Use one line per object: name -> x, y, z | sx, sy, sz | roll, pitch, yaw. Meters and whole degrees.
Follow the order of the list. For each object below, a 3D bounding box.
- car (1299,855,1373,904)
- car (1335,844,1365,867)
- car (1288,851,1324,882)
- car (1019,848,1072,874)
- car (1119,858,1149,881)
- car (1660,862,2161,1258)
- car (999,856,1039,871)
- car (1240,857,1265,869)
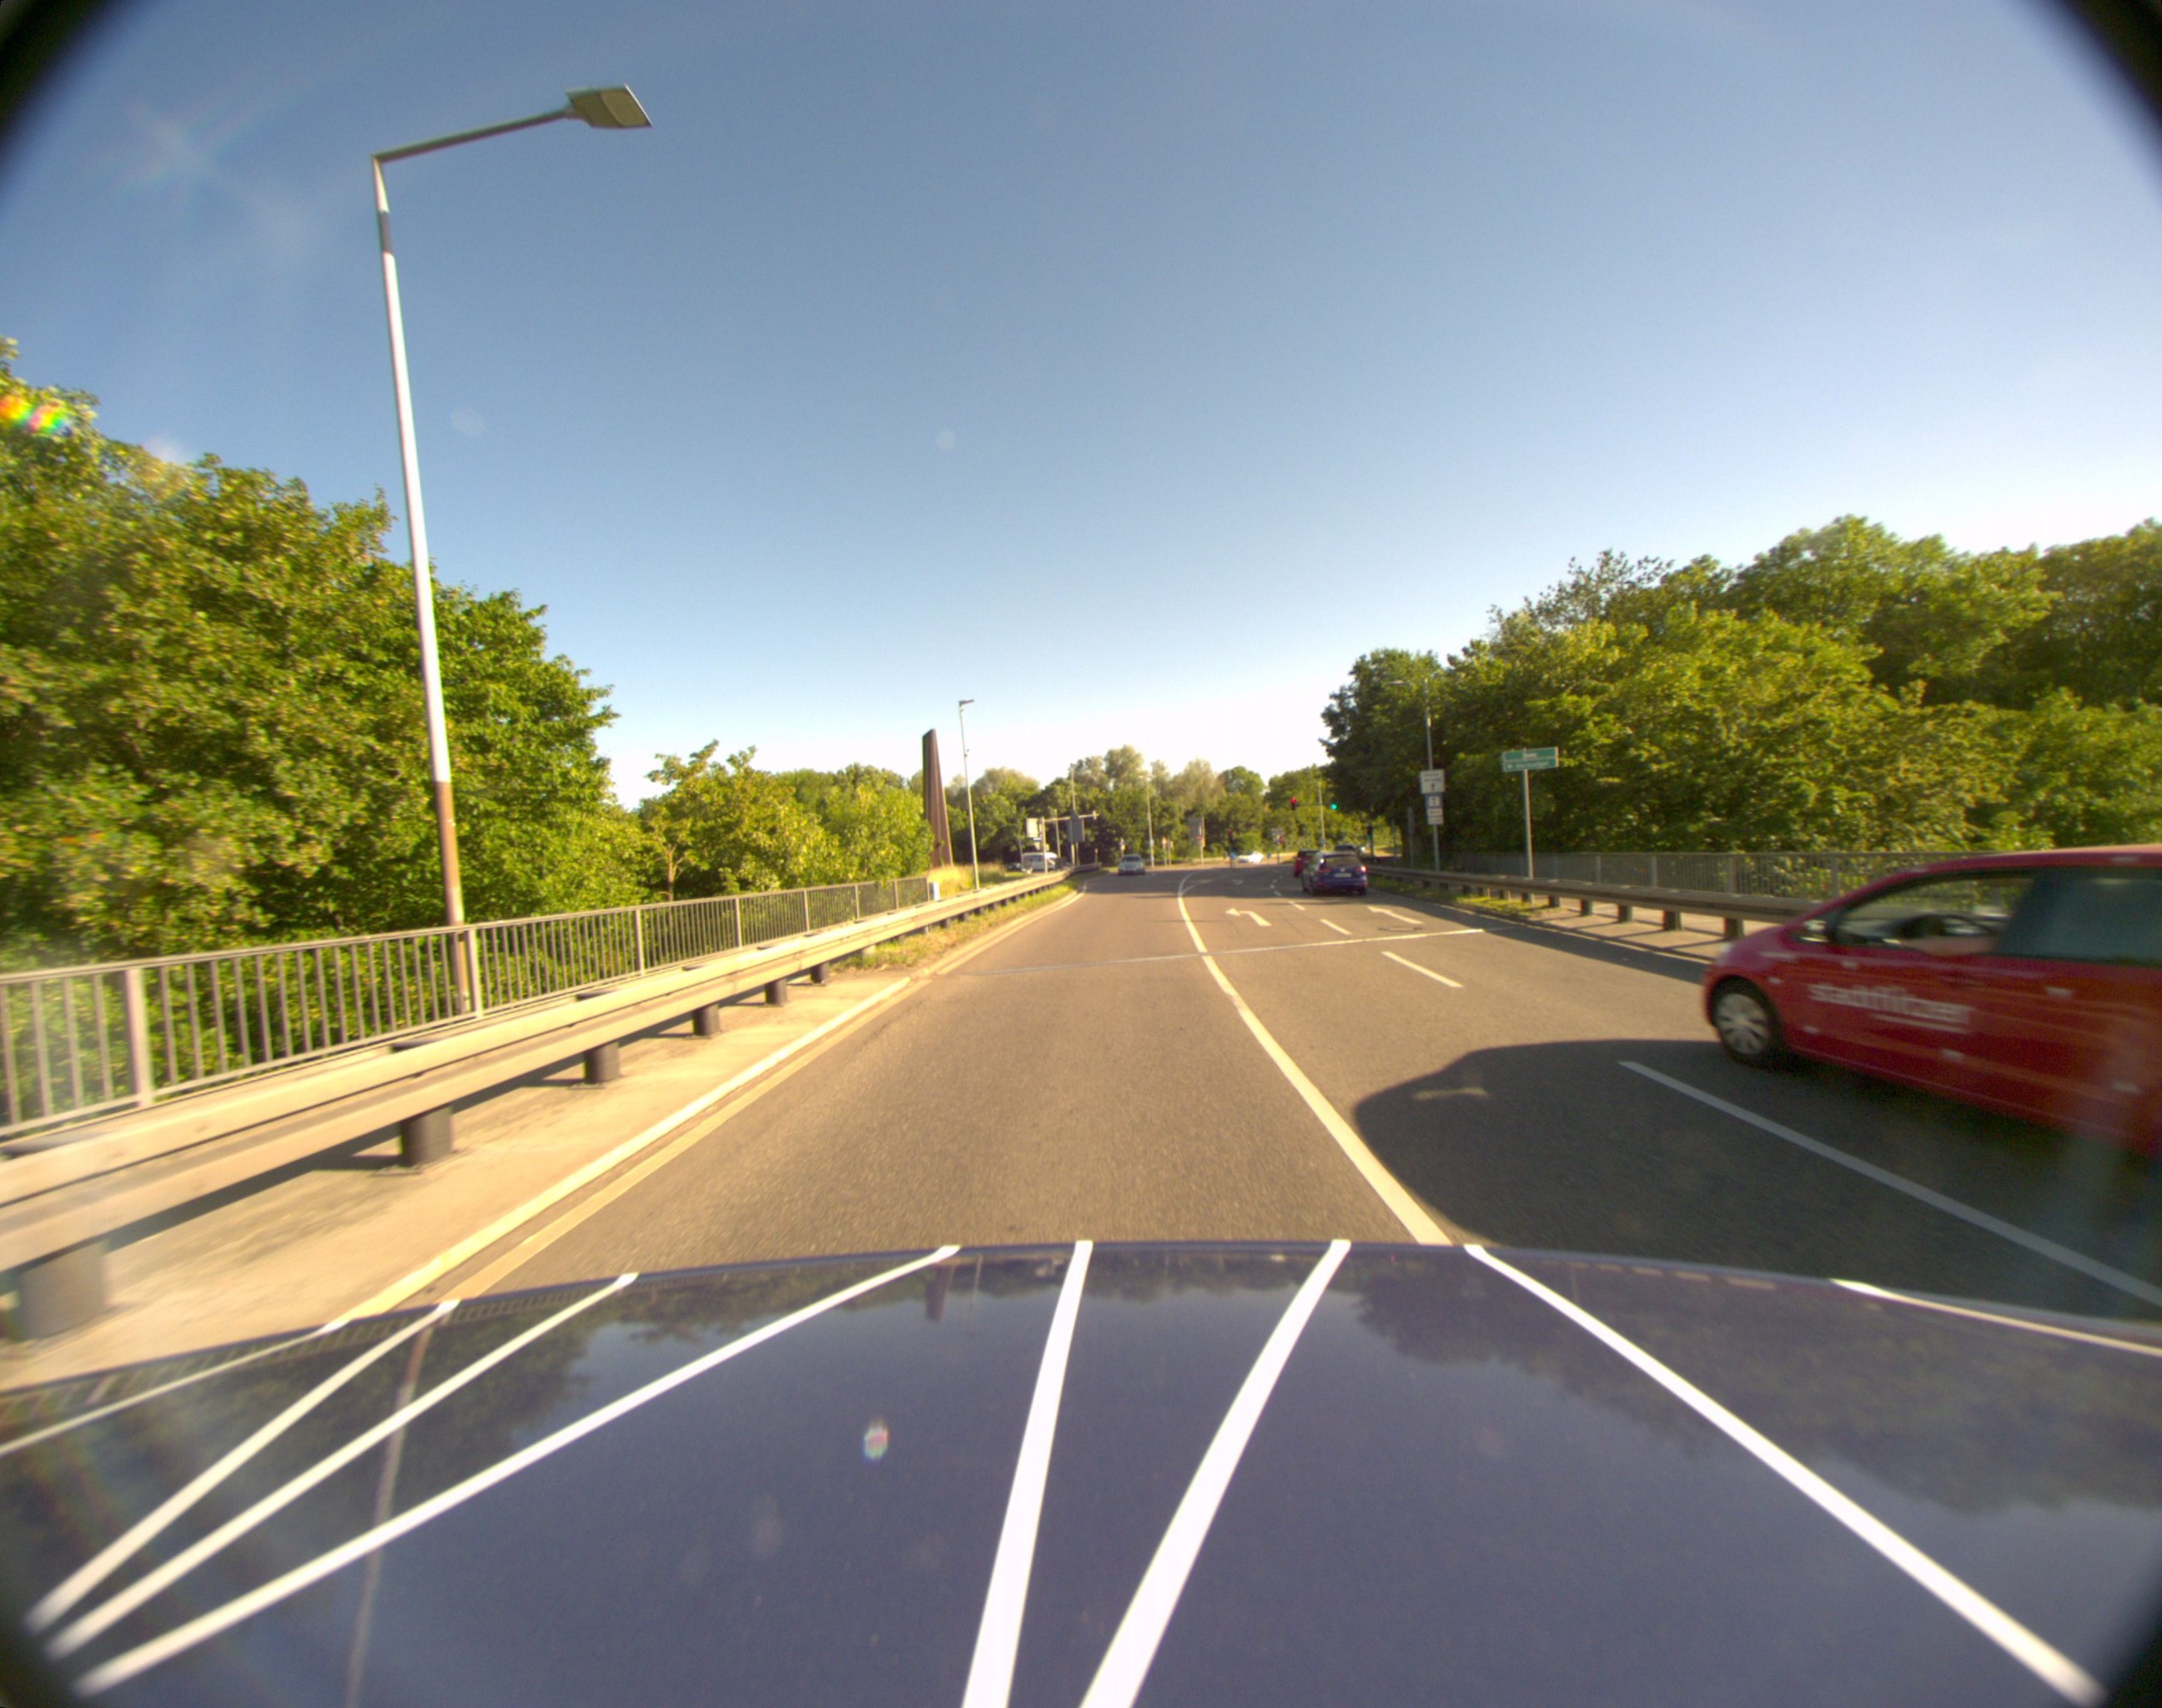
car -> 8.675, 0.821, 26.212 | 1.727, 1.478, 4.410 | -1, 0, 10
car -> 25.768, 0.126, 72.562 | 1.950, 2.100, 5.280 | 0, 1, 28
car -> 13.267, 0.701, 45.015 | 1.807, 1.628, 4.004 | -2, 0, 14
car -> -3.977, 0.776, 83.863 | 5.691, 2.484, 2.119 | -4, -1, 38
car -> 3.841, 1.075, 54.583 | 1.763, 1.428, 4.332 | -2, 0, 8
car -> 5.120, 0.817, 3.741 | 1.785, 1.429, 3.876 | -2, 0, 4
car -> -6.660, 1.009, 81.272 | 3.977, 1.405, 1.848 | -2, 1, 40
car -> 21.707, 1.127, 96.131 | 1.989, 1.465, 4.137 | -2, 1, 29
